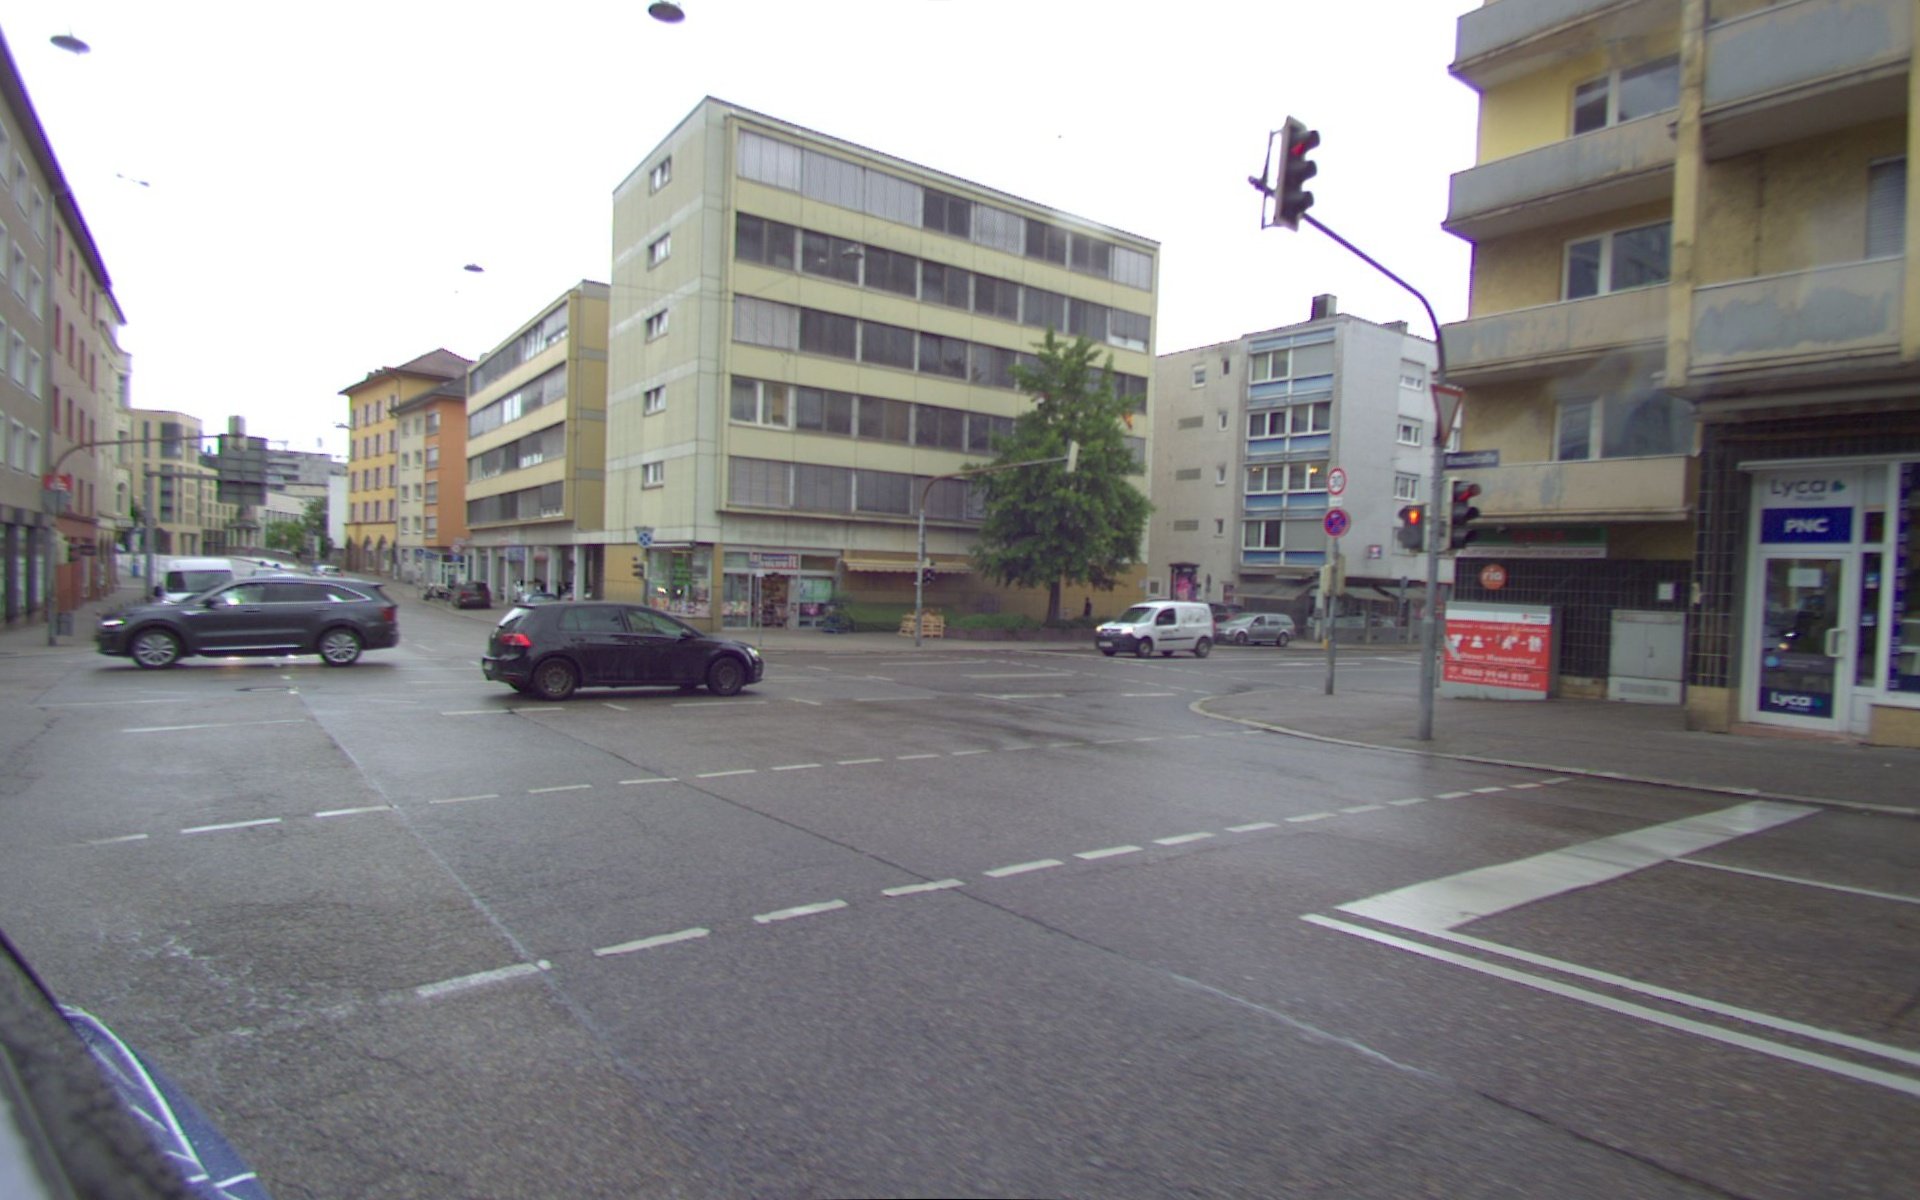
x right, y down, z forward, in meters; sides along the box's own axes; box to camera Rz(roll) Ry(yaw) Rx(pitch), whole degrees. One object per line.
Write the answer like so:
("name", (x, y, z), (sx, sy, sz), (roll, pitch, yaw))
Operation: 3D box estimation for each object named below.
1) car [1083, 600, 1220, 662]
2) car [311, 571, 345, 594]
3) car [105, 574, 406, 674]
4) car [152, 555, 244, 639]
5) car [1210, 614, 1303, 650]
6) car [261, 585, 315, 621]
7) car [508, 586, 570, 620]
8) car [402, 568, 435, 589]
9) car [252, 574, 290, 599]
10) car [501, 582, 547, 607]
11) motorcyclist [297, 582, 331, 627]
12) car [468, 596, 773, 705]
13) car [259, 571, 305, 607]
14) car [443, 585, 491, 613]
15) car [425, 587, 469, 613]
("car", (6.219, 0.994, 32.735), (4.160, 1.869, 1.997), (1, -1, -34))
("car", (-51.463, -1.430, 82.370), (1.821, 1.721, 4.378), (1, 2, -39))
("car", (-13.295, 0.452, 19.418), (4.494, 1.715, 1.997), (1, -1, -33))
("car", (-25.093, -0.121, 33.491), (2.196, 2.543, 5.484), (-2, 1, -35))
("car", (12.978, 1.384, 44.234), (3.825, 1.437, 1.730), (1, 2, -31))
("car", (-29.307, 0.105, 44.120), (1.820, 1.430, 3.578), (-3, 2, -35))
("car", (-19.095, 0.116, 45.797), (1.820, 1.430, 3.578), (-3, 2, -35))
("car", (-43.556, -1.678, 81.364), (1.820, 1.579, 4.380), (-3, 2, -35))
("car", (-41.764, -0.816, 61.310), (1.820, 1.430, 3.578), (-3, 2, -35))
("car", (-28.820, -0.378, 66.876), (1.820, 1.579, 4.379), (-3, 2, -36))
("motorcyclist", (-21.477, 0.151, 33.645), (0.865, 1.490, 0.798), (1, 0, -36))
("car", (-5.141, 0.725, 15.569), (4.098, 1.435, 1.692), (1, 1, -37))
("car", (-34.709, -0.553, 51.791), (1.820, 1.727, 3.578), (-3, 2, -35))
("car", (-29.399, -0.078, 60.274), (1.820, 1.579, 4.380), (-3, 2, -35))
("car", (-32.666, -0.010, 64.408), (1.820, 1.579, 4.380), (-3, 2, -35))
